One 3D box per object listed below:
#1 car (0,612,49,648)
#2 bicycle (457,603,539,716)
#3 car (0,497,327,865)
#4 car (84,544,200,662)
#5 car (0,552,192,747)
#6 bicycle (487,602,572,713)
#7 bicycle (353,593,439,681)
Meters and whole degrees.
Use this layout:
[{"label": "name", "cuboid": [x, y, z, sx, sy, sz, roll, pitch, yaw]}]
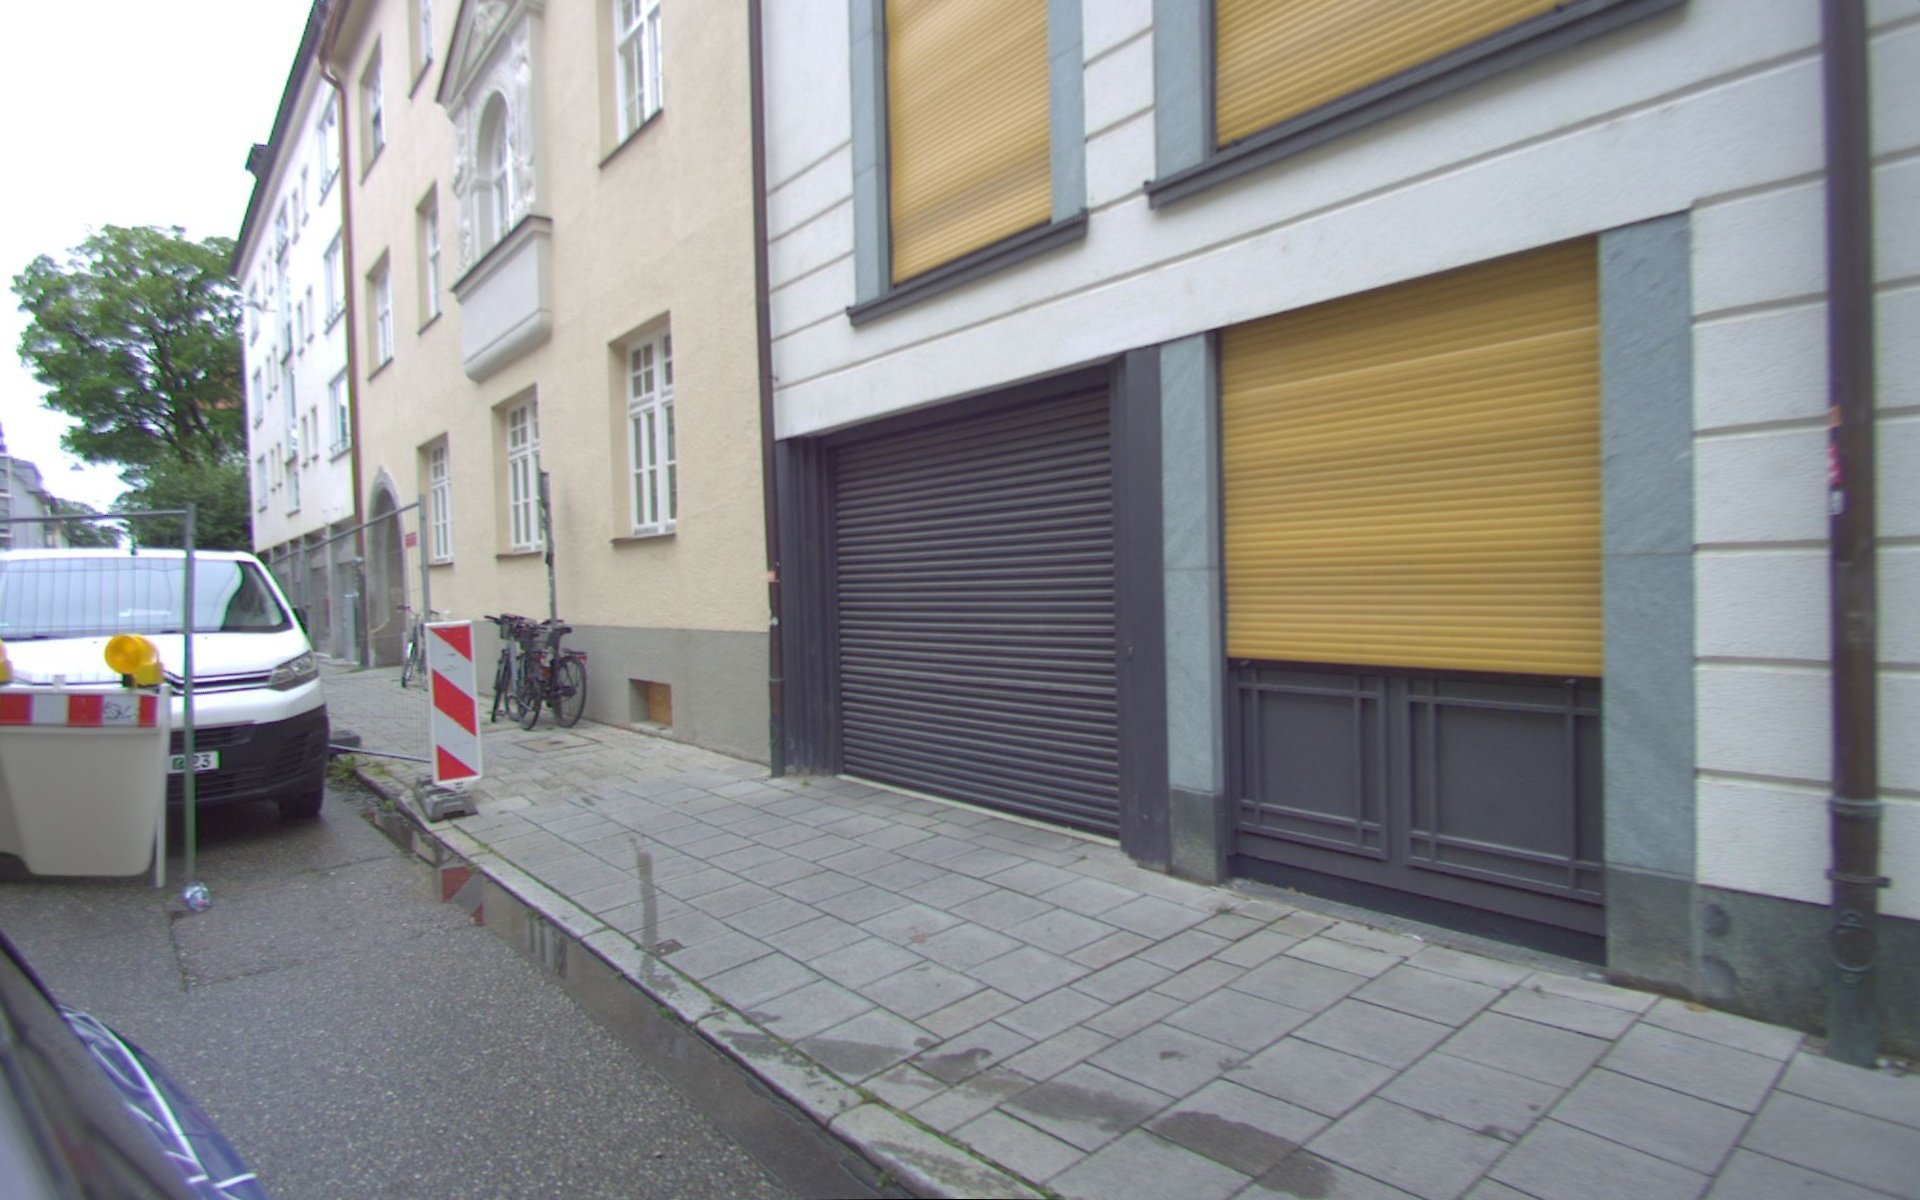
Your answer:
[{"label": "car", "cuboid": [-45.076, 1.427, 48.461, 1.749, 1.535, 4.074, -6, 3, -38]}, {"label": "bicycle", "cuboid": [-4.680, 0.575, 10.221, 0.300, 1.059, 1.393, -5, 3, -41]}, {"label": "car", "cuboid": [-6.373, 0.415, 7.458, 1.882, 1.911, 5.094, -3, 2, -43]}, {"label": "car", "cuboid": [-20.747, 0.068, 25.563, 1.969, 2.598, 6.747, -2, 1, -41]}, {"label": "car", "cuboid": [-10.680, 0.496, 12.430, 1.705, 1.911, 5.518, -1, 0, -40]}, {"label": "bicycle", "cuboid": [-4.452, 0.565, 10.430, 0.300, 1.059, 1.456, -5, 3, -41]}, {"label": "bicycle", "cuboid": [-8.246, 0.544, 14.741, 2.135, 1.197, 0.377, -3, 2, 43]}]
